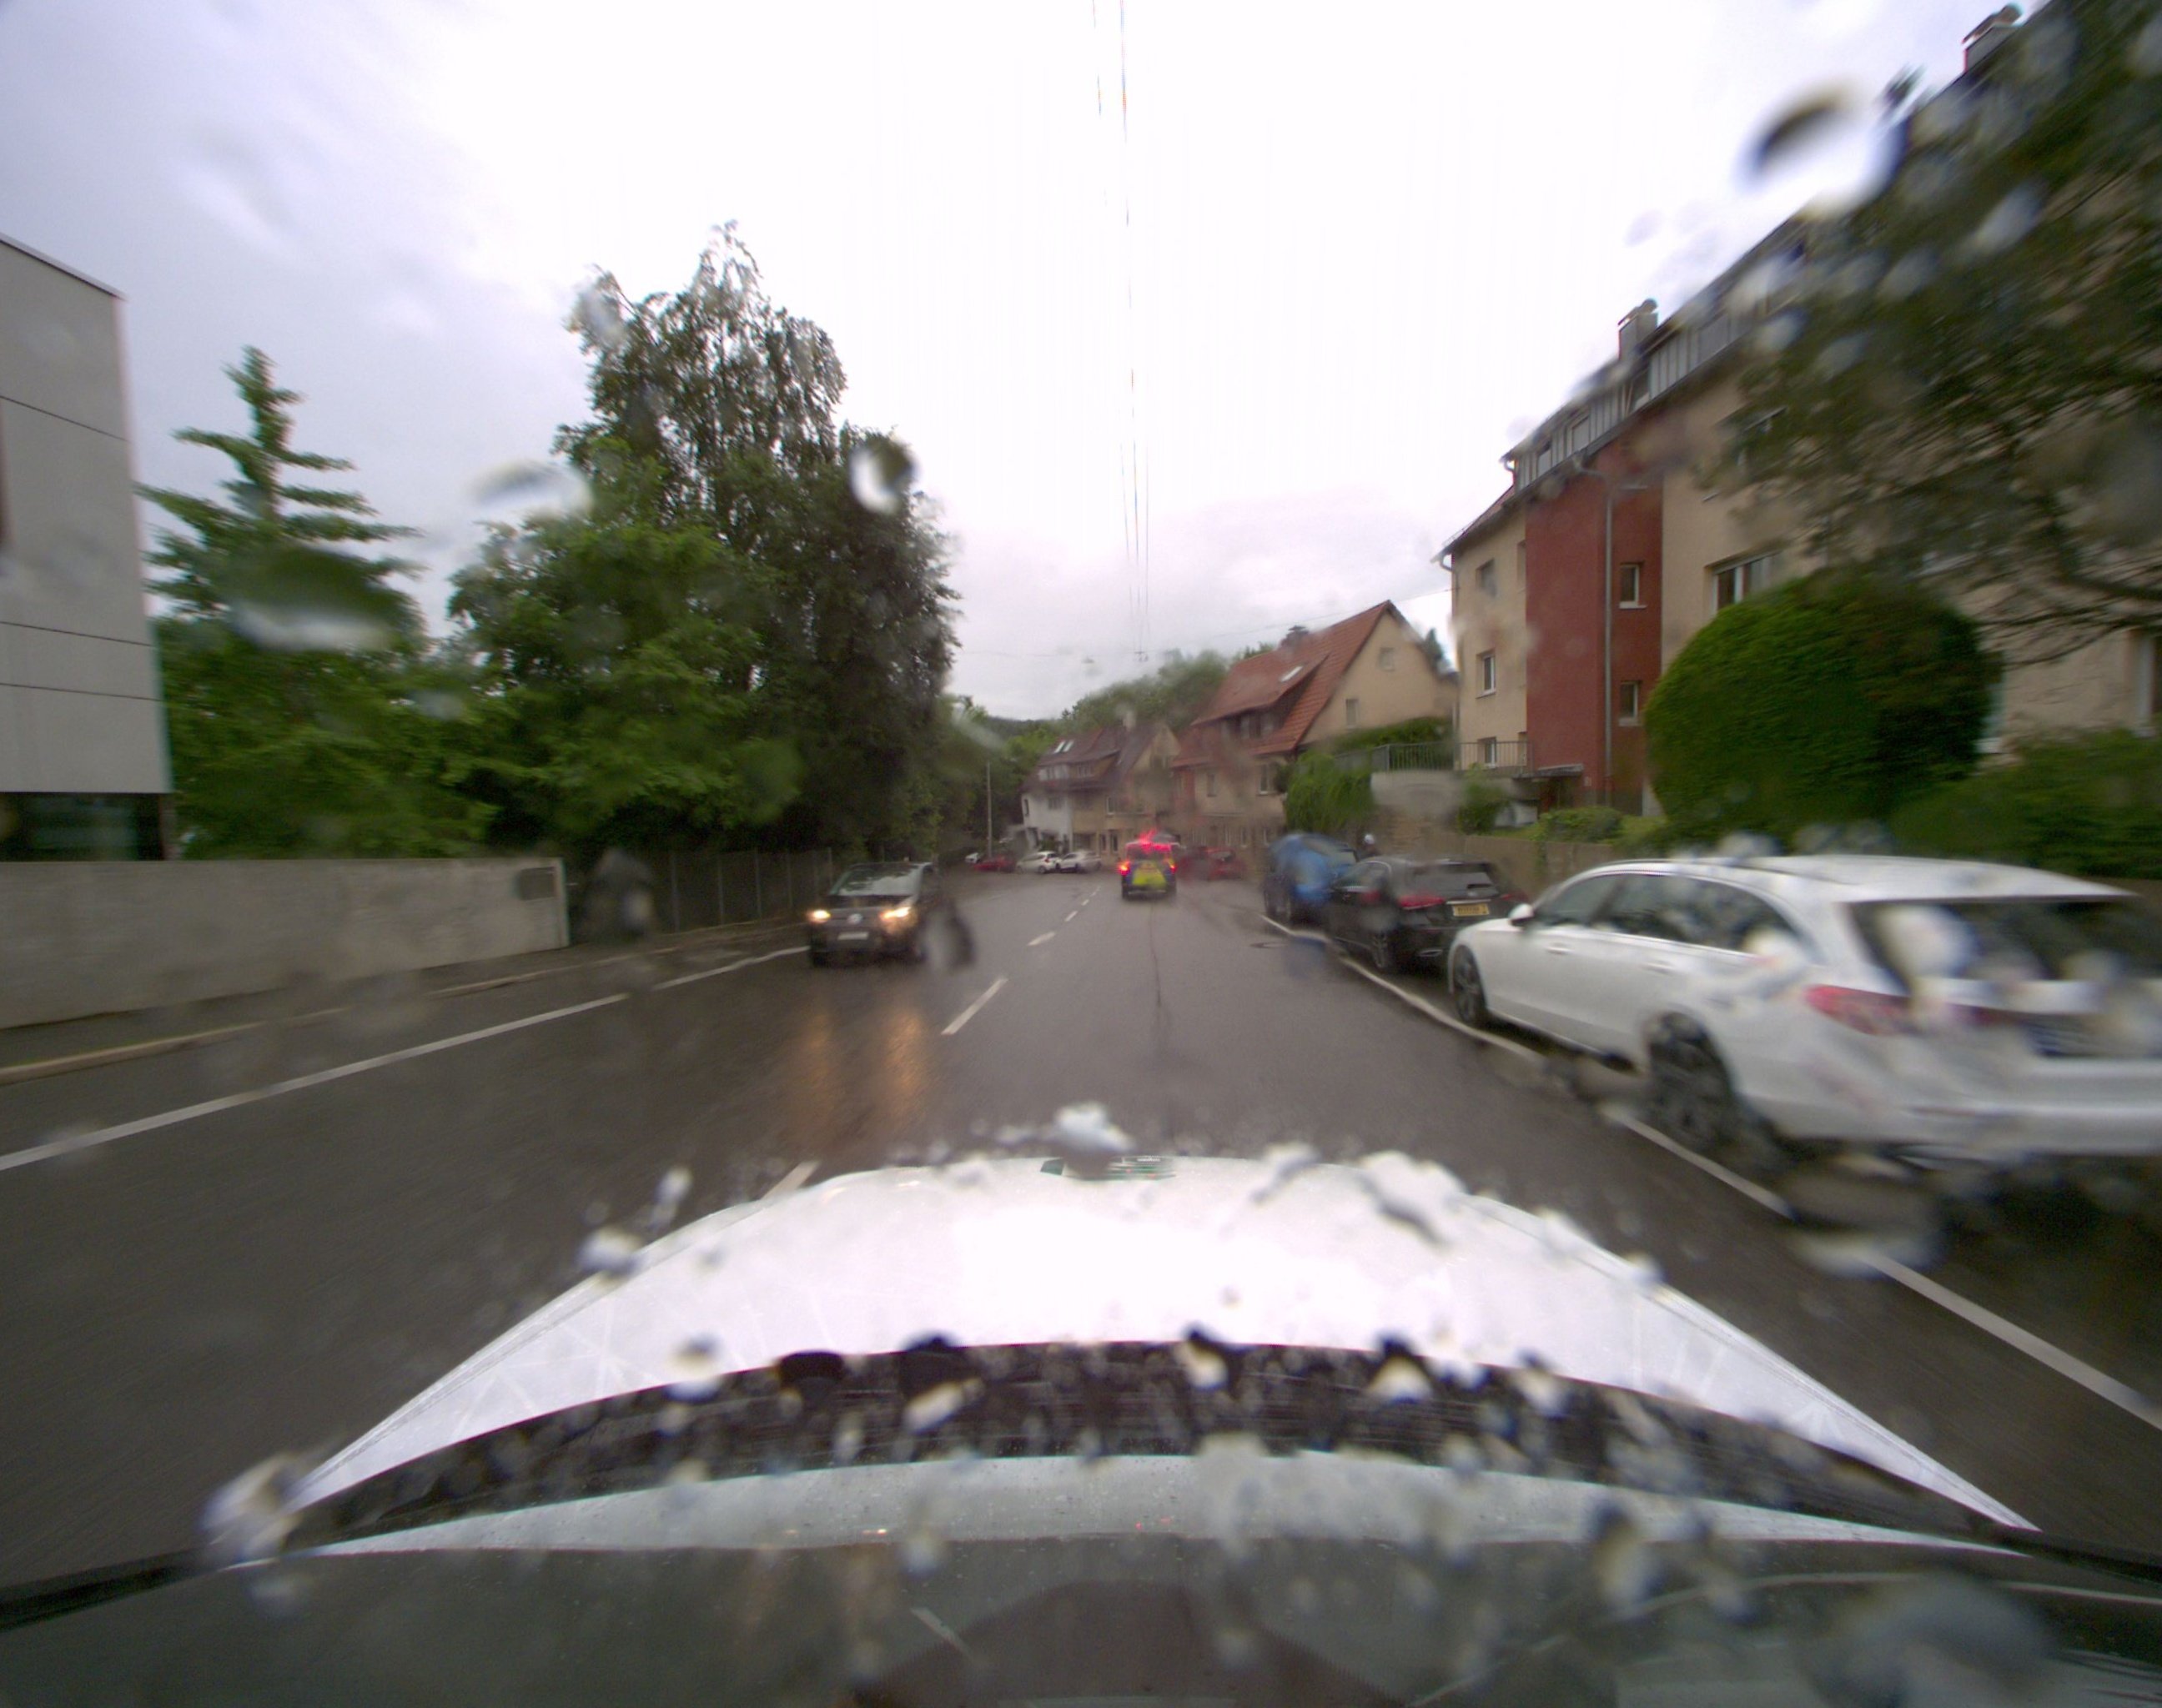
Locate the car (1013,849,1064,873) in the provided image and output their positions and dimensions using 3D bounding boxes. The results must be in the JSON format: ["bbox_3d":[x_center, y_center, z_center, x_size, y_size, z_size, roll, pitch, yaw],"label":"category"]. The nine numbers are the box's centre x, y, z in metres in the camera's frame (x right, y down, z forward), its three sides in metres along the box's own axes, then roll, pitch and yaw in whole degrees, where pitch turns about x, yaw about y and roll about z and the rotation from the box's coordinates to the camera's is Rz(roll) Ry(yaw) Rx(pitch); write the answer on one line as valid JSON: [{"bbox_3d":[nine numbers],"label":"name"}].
[{"bbox_3d":[-3.300,0.534,62.555,1.781,1.514,3.776,-7,2,-43],"label":"car"}]

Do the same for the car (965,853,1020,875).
[{"bbox_3d":[-7.165,0.843,65.968,4.141,1.367,1.798,-5,2,35],"label":"car"}]

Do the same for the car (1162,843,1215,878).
[{"bbox_3d":[5.790,0.307,44.555,1.614,1.604,4.399,-6,2,-8],"label":"car"}]

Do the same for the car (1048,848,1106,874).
[{"bbox_3d":[-0.325,0.514,58.970,1.929,1.538,4.365,-7,2,-36],"label":"car"}]

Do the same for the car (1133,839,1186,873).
[{"bbox_3d":[4.728,0.105,49.627,1.708,1.790,4.304,-6,2,-15],"label":"car"}]

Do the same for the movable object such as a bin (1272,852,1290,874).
[{"bbox_3d":[9.249,0.403,37.612,0.594,0.923,0.514,-6,2,-2],"label":"movable object such as a bin"}]

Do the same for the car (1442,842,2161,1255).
[{"bbox_3d":[4.013,0.695,5.099,1.799,1.455,4.258,-2,1,4],"label":"car"}]

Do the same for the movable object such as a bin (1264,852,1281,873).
[{"bbox_3d":[9.025,0.385,38.464,0.586,0.923,0.507,-6,2,-2],"label":"movable object such as a bin"}]

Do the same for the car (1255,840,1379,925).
[{"bbox_3d":[5.079,0.532,18.113,1.726,1.593,4.258,-2,1,4],"label":"car"}]

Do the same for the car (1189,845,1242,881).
[{"bbox_3d":[6.470,0.402,39.427,1.612,1.435,3.576,-6,2,-4],"label":"car"}]

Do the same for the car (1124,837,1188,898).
[{"bbox_3d":[2.719,0.482,29.181,1.983,1.893,4.577,-4,-1,6],"label":"car"}]

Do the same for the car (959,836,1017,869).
[{"bbox_3d":[-8.275,-0.179,72.402,4.423,1.841,1.983,-16,8,-26],"label":"car"}]

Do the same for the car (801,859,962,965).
[{"bbox_3d":[-3.033,0.812,13.153,1.644,1.420,3.802,0,0,0],"label":"car"}]

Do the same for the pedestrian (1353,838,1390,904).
[{"bbox_3d":[7.363,0.426,20.649,0.622,1.650,0.609,-1,0,-26],"label":"pedestrian"}]

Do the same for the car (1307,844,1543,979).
[{"bbox_3d":[4.486,0.630,11.362,1.682,1.455,4.258,-2,1,4],"label":"car"}]
